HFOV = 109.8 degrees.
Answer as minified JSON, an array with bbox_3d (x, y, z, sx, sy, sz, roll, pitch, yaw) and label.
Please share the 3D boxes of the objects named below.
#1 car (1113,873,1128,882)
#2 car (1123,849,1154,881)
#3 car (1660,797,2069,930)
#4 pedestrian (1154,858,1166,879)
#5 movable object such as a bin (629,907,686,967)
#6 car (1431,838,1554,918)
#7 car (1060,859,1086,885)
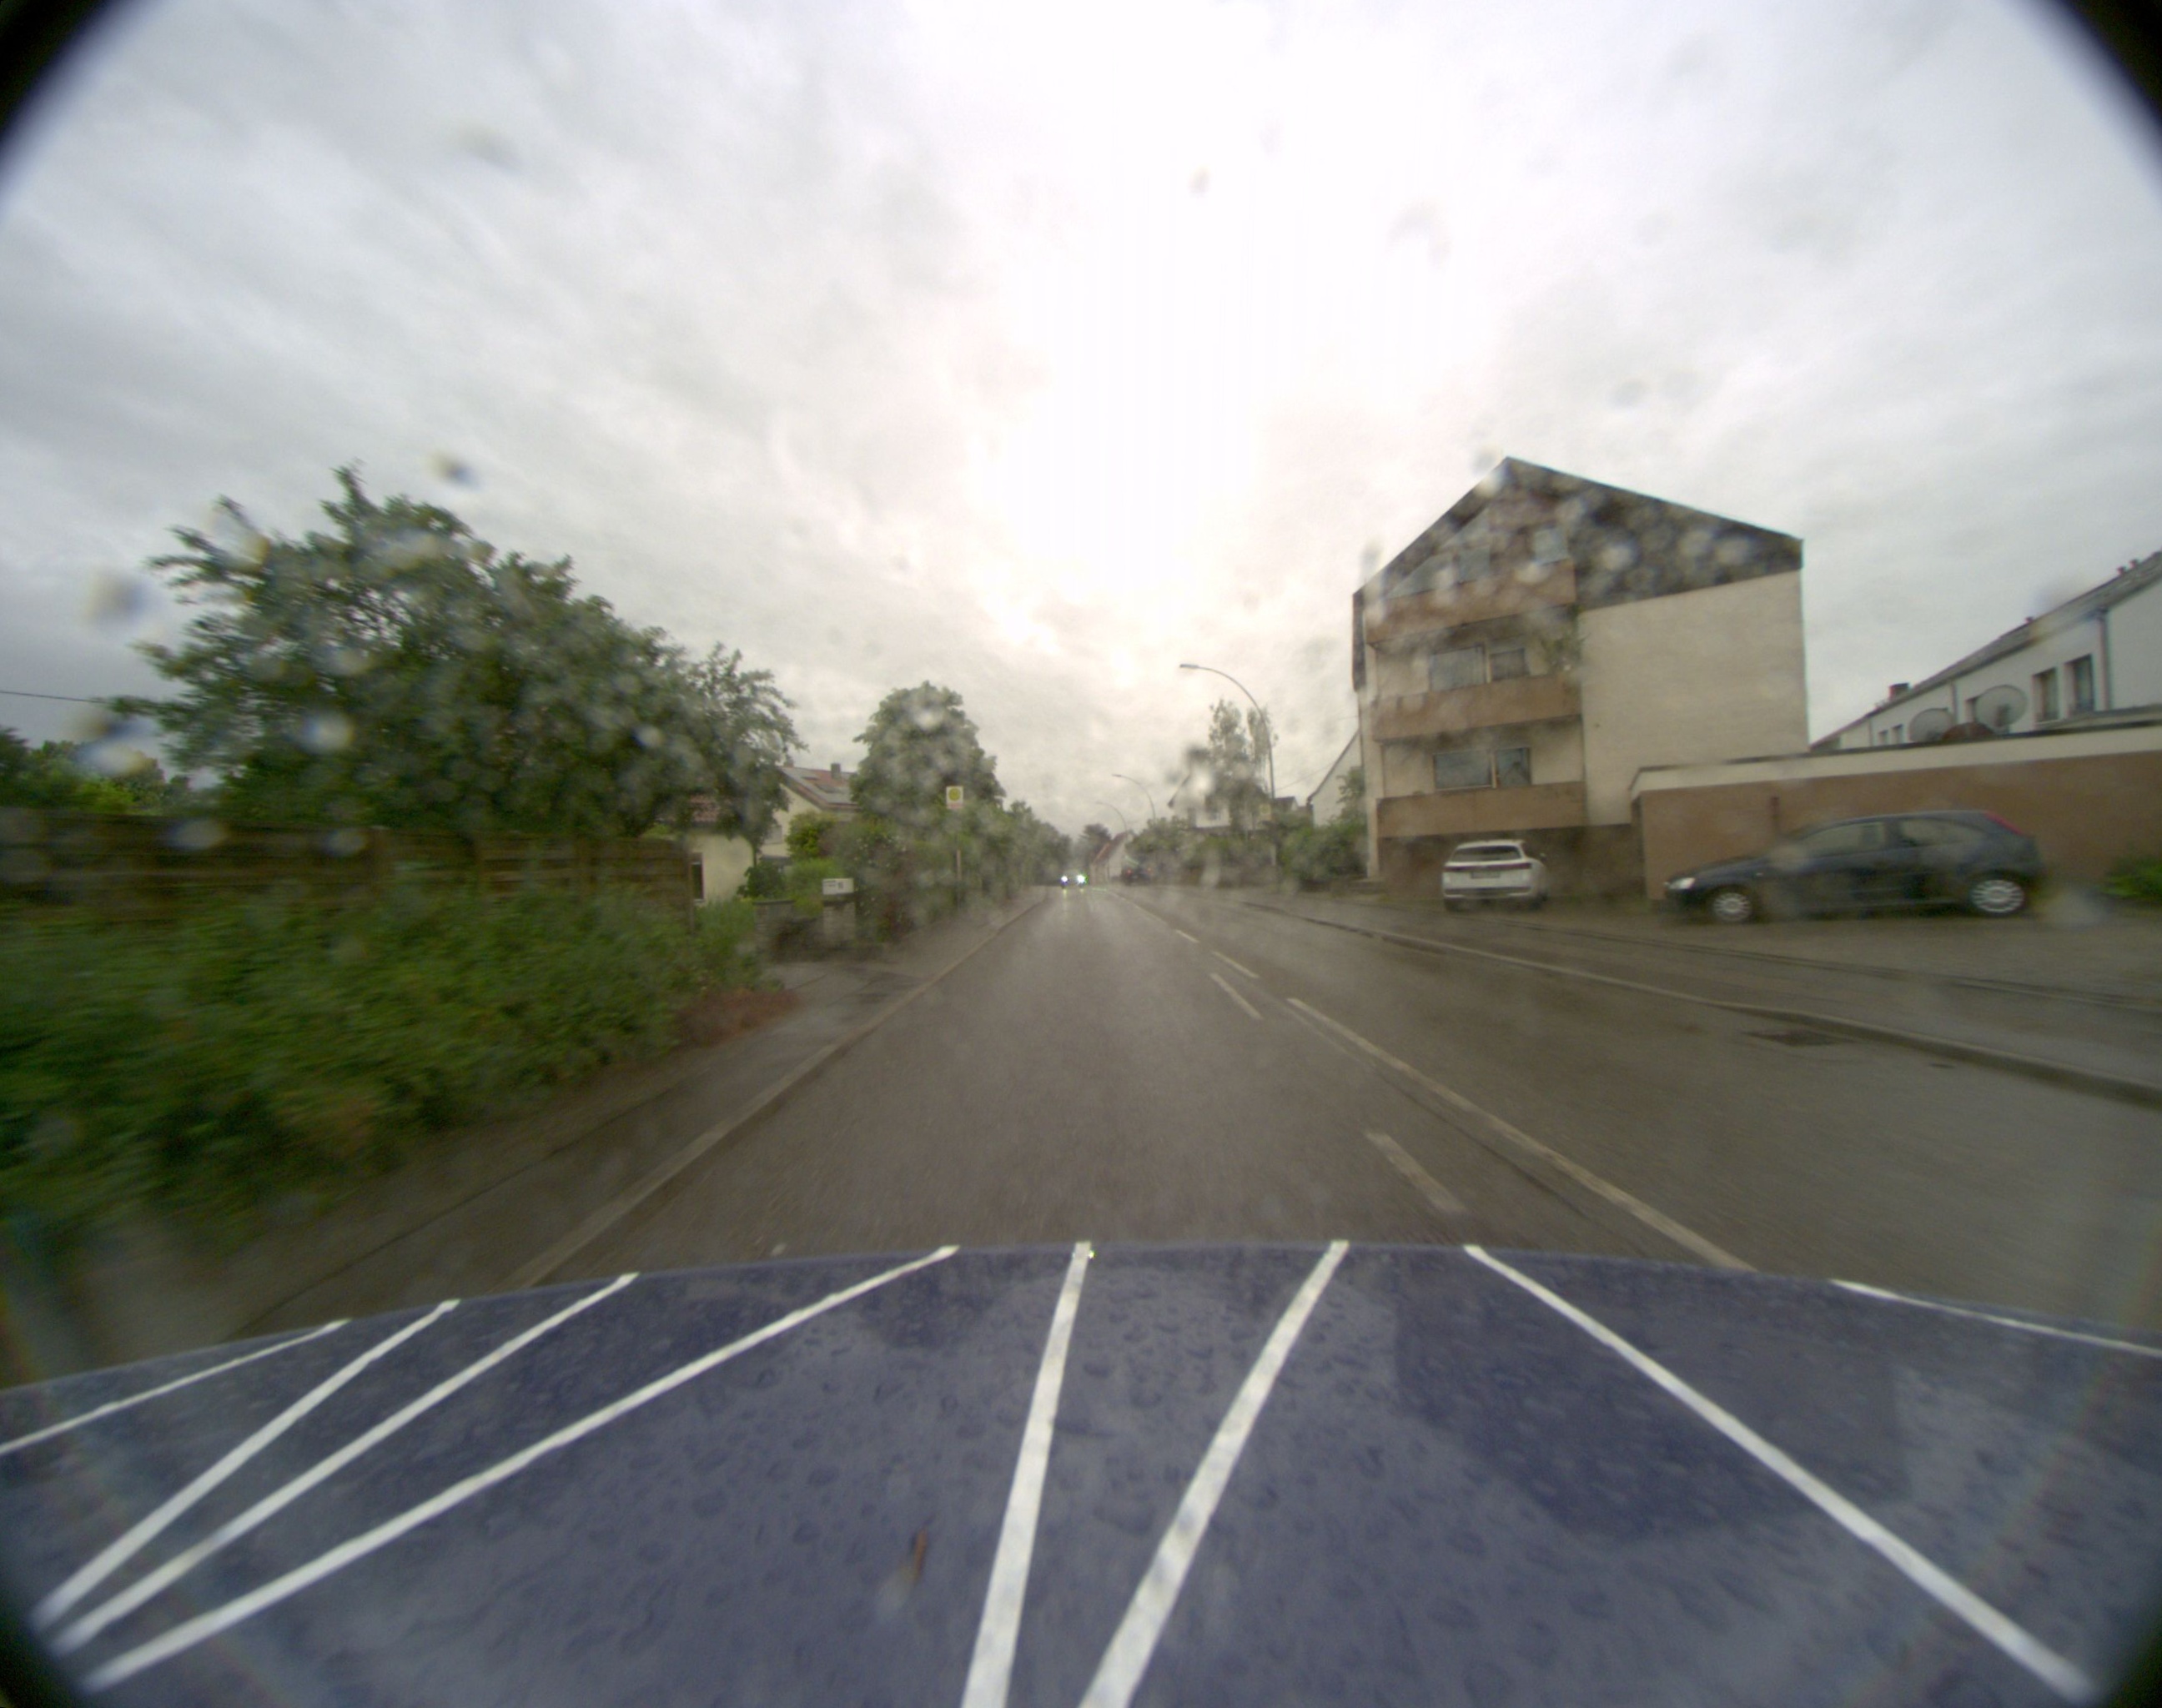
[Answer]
[{"bbox_3d":[7.016,4.132,134.126,1.904,1.432,3.834,-5,-3,15],"label":"car"},{"bbox_3d":[5.207,1.064,69.077,2.100,2.633,5.919,-4,-1,-1],"label":"car"},{"bbox_3d":[10.717,0.189,10.857,3.765,1.499,1.705,-6,-1,38],"label":"car"},{"bbox_3d":[6.964,1.276,67.011,0.679,1.874,0.811,-3,0,30],"label":"pedestrian"},{"bbox_3d":[-10.921,2.115,19.614,1.016,1.460,0.809,-2,0,28],"label":"movable object such as a bin"},{"bbox_3d":[9.307,0.454,16.967,1.902,1.468,4.891,-5,-2,33],"label":"car"},{"bbox_3d":[-0.683,1.553,64.140,1.999,2.001,4.001,-3,-2,-1],"label":"car"}]
